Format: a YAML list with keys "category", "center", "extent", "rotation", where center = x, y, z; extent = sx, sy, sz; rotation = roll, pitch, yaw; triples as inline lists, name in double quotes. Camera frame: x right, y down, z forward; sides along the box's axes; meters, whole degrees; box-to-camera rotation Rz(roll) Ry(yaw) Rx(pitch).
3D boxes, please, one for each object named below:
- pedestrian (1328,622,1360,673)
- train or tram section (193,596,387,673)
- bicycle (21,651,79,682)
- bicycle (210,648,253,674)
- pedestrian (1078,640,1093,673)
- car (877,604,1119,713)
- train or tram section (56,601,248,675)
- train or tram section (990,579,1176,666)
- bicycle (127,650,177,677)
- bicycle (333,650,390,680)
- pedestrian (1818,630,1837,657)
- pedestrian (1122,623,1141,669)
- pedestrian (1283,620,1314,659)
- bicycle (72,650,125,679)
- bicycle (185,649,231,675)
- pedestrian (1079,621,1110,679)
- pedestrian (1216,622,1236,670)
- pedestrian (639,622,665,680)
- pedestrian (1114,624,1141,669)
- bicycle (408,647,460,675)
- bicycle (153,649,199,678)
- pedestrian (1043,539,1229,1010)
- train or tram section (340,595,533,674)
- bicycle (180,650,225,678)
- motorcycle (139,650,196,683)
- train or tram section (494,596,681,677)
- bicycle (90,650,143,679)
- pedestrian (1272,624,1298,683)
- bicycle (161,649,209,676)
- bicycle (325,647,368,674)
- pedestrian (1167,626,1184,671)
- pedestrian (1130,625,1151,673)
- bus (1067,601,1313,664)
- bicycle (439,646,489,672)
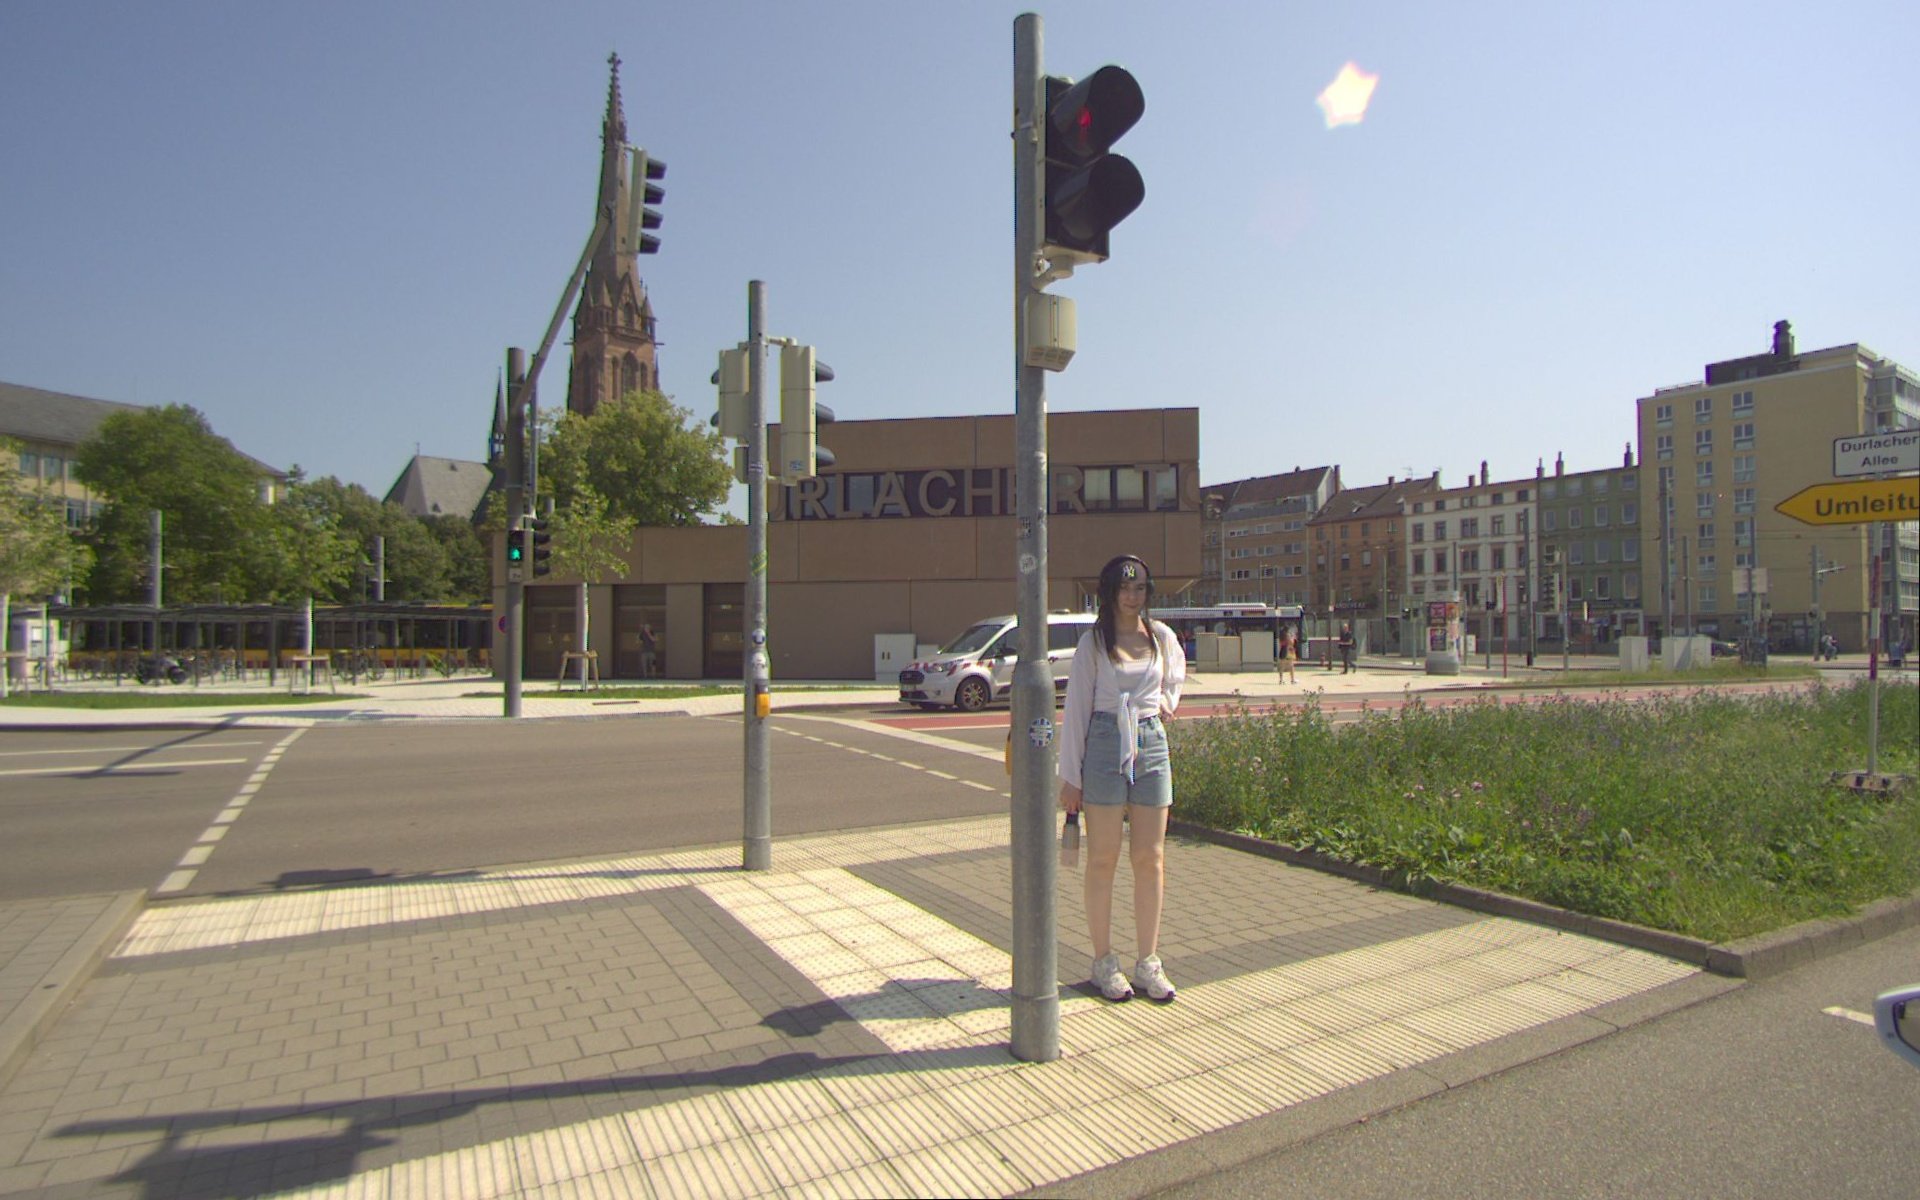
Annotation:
- category: "pedestrian"
  center: [13.237, 1.636, 34.649]
  extent: [0.799, 1.725, 0.641]
  rotation: [1, -2, -29]
- category: "train or tram section"
  center: [-34.616, 1.842, 52.040]
  extent: [8.353, 3.644, 3.165]
  rotation: [-2, -3, 9]
- category: "bicycle"
  center: [-32.519, 2.368, 35.898]
  extent: [1.827, 1.096, 0.527]
  rotation: [-1, -3, 11]
- category: "bicycle"
  center: [-29.393, 2.464, 40.541]
  extent: [1.607, 1.053, 0.413]
  rotation: [-1, -3, 11]
- category: "pedestrian"
  center: [4.248, 1.909, 33.992]
  extent: [0.490, 1.098, 0.541]
  rotation: [0, -2, 8]
- category: "car"
  center: [0.759, 1.124, 19.409]
  extent: [4.285, 1.883, 1.984]
  rotation: [1, -5, -32]
- category: "train or tram section"
  center: [-42.778, 2.086, 53.290]
  extent: [8.159, 3.606, 3.141]
  rotation: [-2, -4, 9]
- category: "train or tram section"
  center: [5.603, 1.099, 45.968]
  extent: [8.078, 3.616, 3.148]
  rotation: [-2, -4, 8]
- category: "bicycle"
  center: [-31.878, 2.499, 39.646]
  extent: [1.734, 1.053, 0.527]
  rotation: [-1, -3, 11]
- category: "bicycle"
  center: [-21.163, 2.301, 35.508]
  extent: [1.700, 1.053, 0.513]
  rotation: [-1, -2, 2]
- category: "pedestrian"
  center: [53.319, 2.684, 61.736]
  extent: [0.806, 1.654, 0.644]
  rotation: [1, -2, -35]
- category: "pedestrian"
  center: [6.142, 1.660, 35.973]
  extent: [0.501, 1.635, 0.490]
  rotation: [-1, -2, 32]
- category: "pedestrian"
  center: [16.781, 1.945, 49.786]
  extent: [1.284, 1.910, 1.039]
  rotation: [-1, -3, 11]
- category: "bicycle"
  center: [-32.010, 2.397, 37.314]
  extent: [1.734, 1.053, 0.527]
  rotation: [-1, -3, 11]
- category: "bicycle"
  center: [-31.534, 2.598, 42.118]
  extent: [1.734, 1.053, 0.527]
  rotation: [-1, -3, 11]
- category: "pedestrian"
  center: [4.061, 1.492, 30.218]
  extent: [0.734, 1.711, 0.631]
  rotation: [-1, -2, 30]
- category: "pedestrian"
  center: [10.014, 1.727, 37.839]
  extent: [0.541, 1.786, 0.697]
  rotation: [0, -2, -5]
- category: "pedestrian"
  center: [-9.155, 1.524, 29.864]
  extent: [0.525, 1.700, 0.569]
  rotation: [-1, -2, 8]
- category: "pedestrian"
  center: [6.258, 1.733, 37.553]
  extent: [0.798, 1.691, 0.548]
  rotation: [1, -2, -25]
- category: "bicycle"
  center: [-20.324, 2.338, 38.838]
  extent: [1.701, 1.053, 0.513]
  rotation: [0, -2, -4]
- category: "bicycle"
  center: [-29.769, 2.411, 38.131]
  extent: [1.607, 1.053, 0.413]
  rotation: [-1, -3, 11]
- category: "pedestrian"
  center: [0.673, 0.647, 4.041]
  extent: [0.595, 1.717, 0.700]
  rotation: [0, -2, -1]
- category: "train or tram section"
  center: [-26.370, 1.797, 50.761]
  extent: [8.353, 3.644, 3.165]
  rotation: [-2, -3, 9]
- category: "bicycle"
  center: [-29.526, 2.485, 39.159]
  extent: [1.607, 1.053, 0.413]
  rotation: [-1, -3, 11]
- category: "motorcycle"
  center: [-26.770, 2.252, 33.945]
  extent: [1.743, 1.083, 0.492]
  rotation: [-1, -3, 12]
- category: "train or tram section"
  center: [-18.271, 1.855, 49.509]
  extent: [8.079, 3.644, 3.165]
  rotation: [-2, -3, 9]
- category: "bicycle"
  center: [-31.939, 2.435, 38.029]
  extent: [1.734, 1.053, 0.527]
  rotation: [-1, -3, 11]
- category: "pedestrian"
  center: [9.766, 1.601, 30.148]
  extent: [0.616, 1.725, 0.786]
  rotation: [1, -1, 26]
- category: "bicycle"
  center: [-31.612, 2.551, 40.962]
  extent: [1.734, 1.053, 0.527]
  rotation: [-1, -3, 11]
- category: "bicycle"
  center: [-24.276, 2.390, 39.745]
  extent: [1.607, 1.053, 0.413]
  rotation: [-1, -3, 11]
- category: "pedestrian"
  center: [7.953, 1.784, 37.092]
  extent: [0.559, 1.635, 0.492]
  rotation: [0, -2, 6]
- category: "pedestrian"
  center: [6.222, 1.679, 34.632]
  extent: [0.679, 1.635, 0.639]
  rotation: [-1, -2, 14]
- category: "bus"
  center: [11.806, 1.718, 52.559]
  extent: [12.229, 3.111, 3.109]
  rotation: [0, -2, 9]
- category: "bicycle"
  center: [-19.977, 2.380, 40.452]
  extent: [1.819, 0.998, 0.514]
  rotation: [-1, -3, 7]
